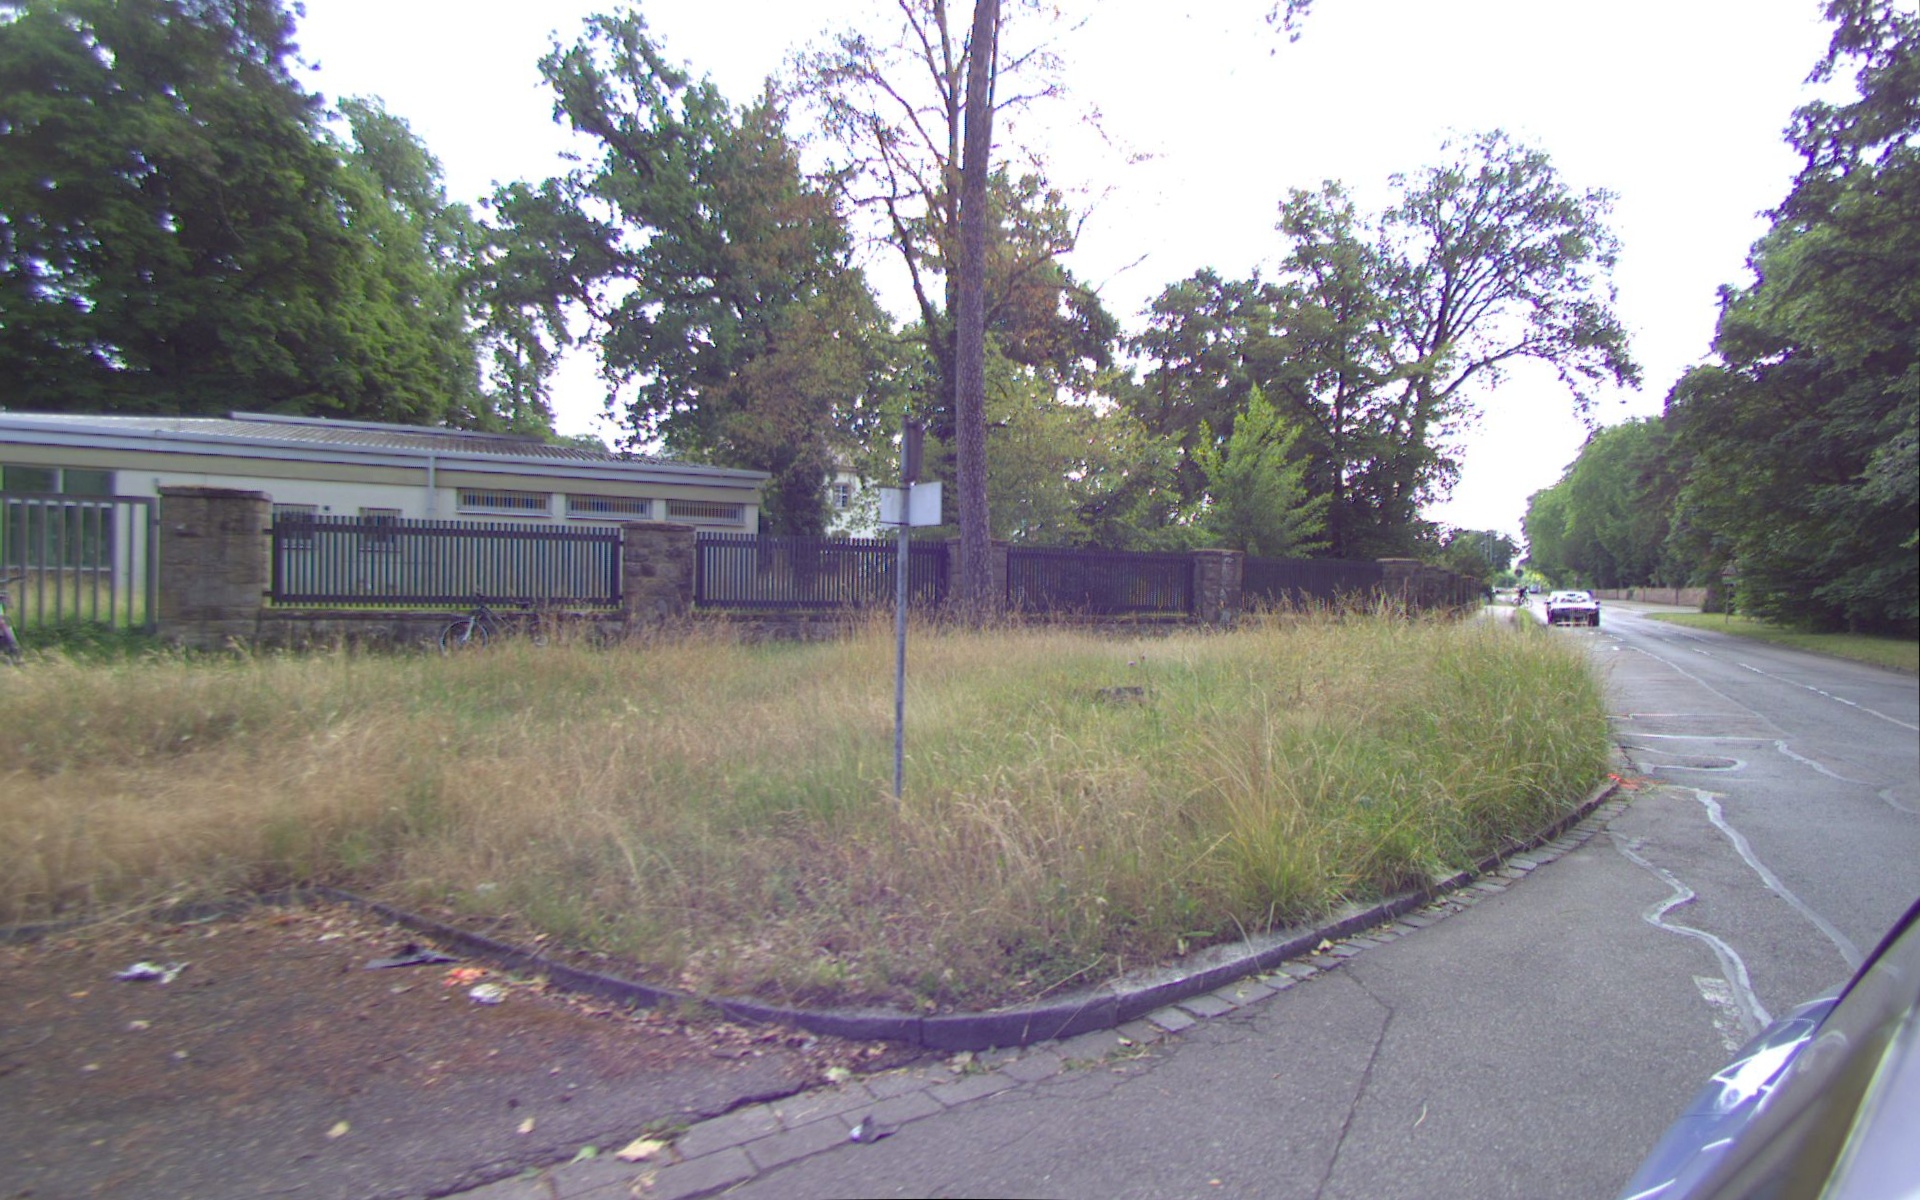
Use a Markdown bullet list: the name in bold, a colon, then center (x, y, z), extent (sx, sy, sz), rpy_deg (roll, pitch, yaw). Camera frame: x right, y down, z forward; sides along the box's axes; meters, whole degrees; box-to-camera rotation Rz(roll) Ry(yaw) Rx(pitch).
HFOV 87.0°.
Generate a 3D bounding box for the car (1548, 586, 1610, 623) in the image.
- **car**: center (26.625, 0.247, 43.659), extent (1.948, 1.483, 4.485), rpy_deg (-1, -2, 27)

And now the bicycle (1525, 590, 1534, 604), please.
- **bicycle**: center (46.167, -0.243, 82.065), extent (0.555, 1.086, 2.135), rpy_deg (3, 1, 29)

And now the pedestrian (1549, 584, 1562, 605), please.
- **pedestrian**: center (49.878, -0.456, 84.762), extent (0.615, 1.672, 0.831), rpy_deg (1, 1, -44)

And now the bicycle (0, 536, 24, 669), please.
- **bicycle**: center (-11.075, -0.014, 11.525), extent (0.568, 1.434, 1.979), rpy_deg (0, 2, -42)

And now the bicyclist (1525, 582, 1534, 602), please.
- **bicyclist**: center (46.134, -0.621, 82.019), extent (0.566, 1.608, 1.193), rpy_deg (3, 1, 29)

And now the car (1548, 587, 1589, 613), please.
- **car**: center (37.148, -0.045, 61.827), extent (1.983, 1.482, 4.160), rpy_deg (2, 2, 29)

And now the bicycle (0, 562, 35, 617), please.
- **bicycle**: center (-21.131, -0.223, 21.621), extent (1.984, 1.186, 0.401), rpy_deg (0, -1, -35)

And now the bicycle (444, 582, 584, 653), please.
- **bicycle**: center (-6.717, 0.252, 15.290), extent (1.913, 1.029, 0.374), rpy_deg (0, 1, -27)

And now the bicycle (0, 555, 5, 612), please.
- **bicycle**: center (-20.639, -0.329, 20.436), extent (1.917, 1.186, 0.486), rpy_deg (0, -1, -33)
